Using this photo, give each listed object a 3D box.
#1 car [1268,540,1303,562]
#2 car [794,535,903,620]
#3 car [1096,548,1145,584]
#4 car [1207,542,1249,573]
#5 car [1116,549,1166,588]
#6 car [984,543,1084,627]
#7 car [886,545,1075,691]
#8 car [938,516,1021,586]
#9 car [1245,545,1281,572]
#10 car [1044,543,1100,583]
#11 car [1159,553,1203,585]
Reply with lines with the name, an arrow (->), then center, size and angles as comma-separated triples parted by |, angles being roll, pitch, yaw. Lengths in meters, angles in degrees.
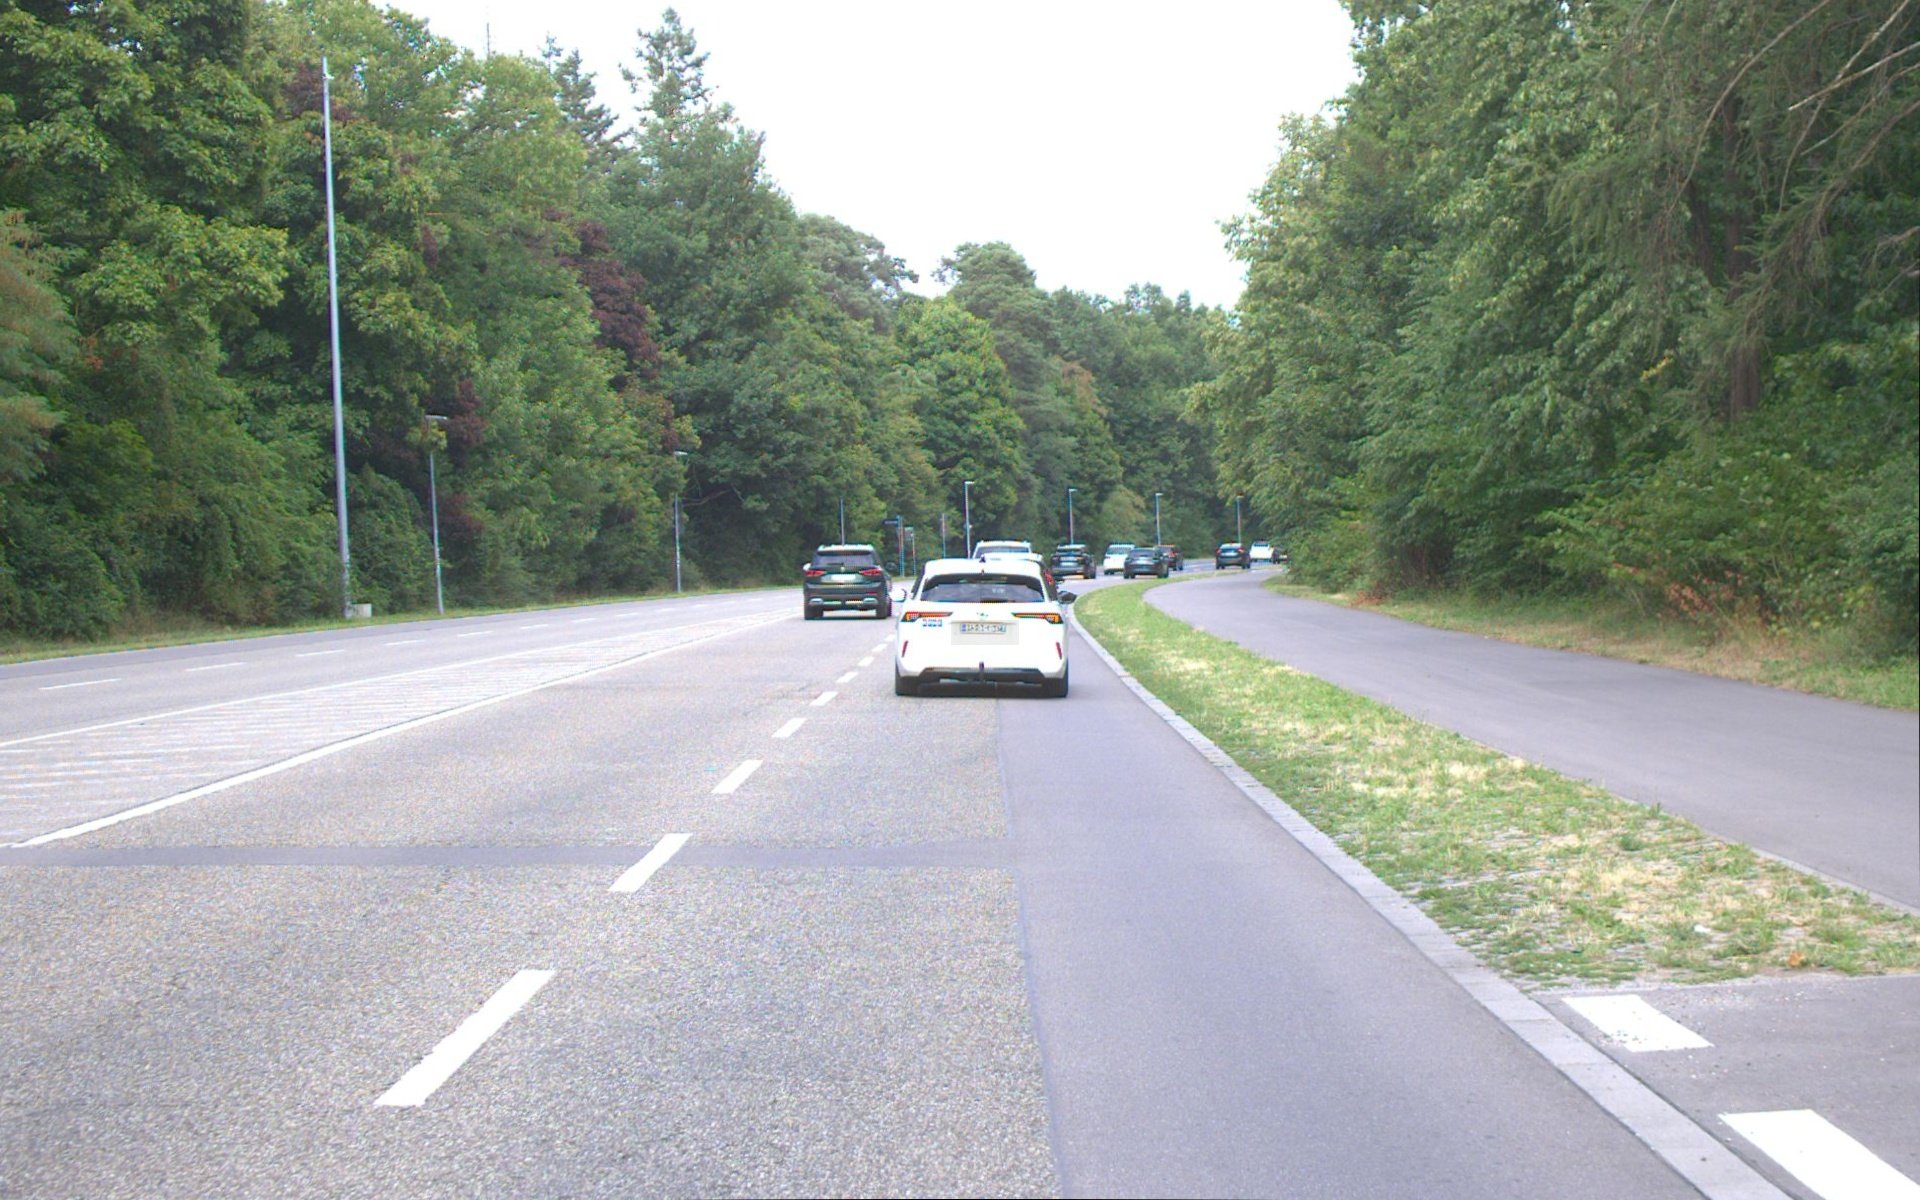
car -> 22.097, -3.314, 233.084 | 1.994, 1.404, 3.998 | 1, 0, 10
car -> -2.423, -0.479, 75.518 | 1.994, 1.780, 3.999 | 1, 0, 3
car -> 8.453, -1.793, 180.614 | 1.994, 1.777, 3.998 | 1, 0, 11
car -> 16.149, -2.536, 206.815 | 1.994, 1.777, 3.998 | 1, 0, 12
car -> 8.535, -1.476, 161.762 | 1.994, 1.777, 3.999 | 1, 0, 8
car -> 1.295, -0.258, 61.679 | 1.635, 1.415, 4.000 | 1, 0, 0
car -> 0.223, 0.177, 36.426 | 1.836, 1.405, 4.490 | 1, 0, 1
car -> 0.476, -1.242, 85.836 | 1.993, 1.601, 4.001 | 1, 2, 0
car -> 21.731, -2.946, 246.471 | 1.889, 1.809, 3.997 | 1, 0, 14
car -> 5.228, -1.734, 160.451 | 1.994, 1.777, 3.998 | 1, 0, 11
car -> 12.676, -1.777, 197.133 | 1.994, 1.777, 3.998 | 1, 0, 10
